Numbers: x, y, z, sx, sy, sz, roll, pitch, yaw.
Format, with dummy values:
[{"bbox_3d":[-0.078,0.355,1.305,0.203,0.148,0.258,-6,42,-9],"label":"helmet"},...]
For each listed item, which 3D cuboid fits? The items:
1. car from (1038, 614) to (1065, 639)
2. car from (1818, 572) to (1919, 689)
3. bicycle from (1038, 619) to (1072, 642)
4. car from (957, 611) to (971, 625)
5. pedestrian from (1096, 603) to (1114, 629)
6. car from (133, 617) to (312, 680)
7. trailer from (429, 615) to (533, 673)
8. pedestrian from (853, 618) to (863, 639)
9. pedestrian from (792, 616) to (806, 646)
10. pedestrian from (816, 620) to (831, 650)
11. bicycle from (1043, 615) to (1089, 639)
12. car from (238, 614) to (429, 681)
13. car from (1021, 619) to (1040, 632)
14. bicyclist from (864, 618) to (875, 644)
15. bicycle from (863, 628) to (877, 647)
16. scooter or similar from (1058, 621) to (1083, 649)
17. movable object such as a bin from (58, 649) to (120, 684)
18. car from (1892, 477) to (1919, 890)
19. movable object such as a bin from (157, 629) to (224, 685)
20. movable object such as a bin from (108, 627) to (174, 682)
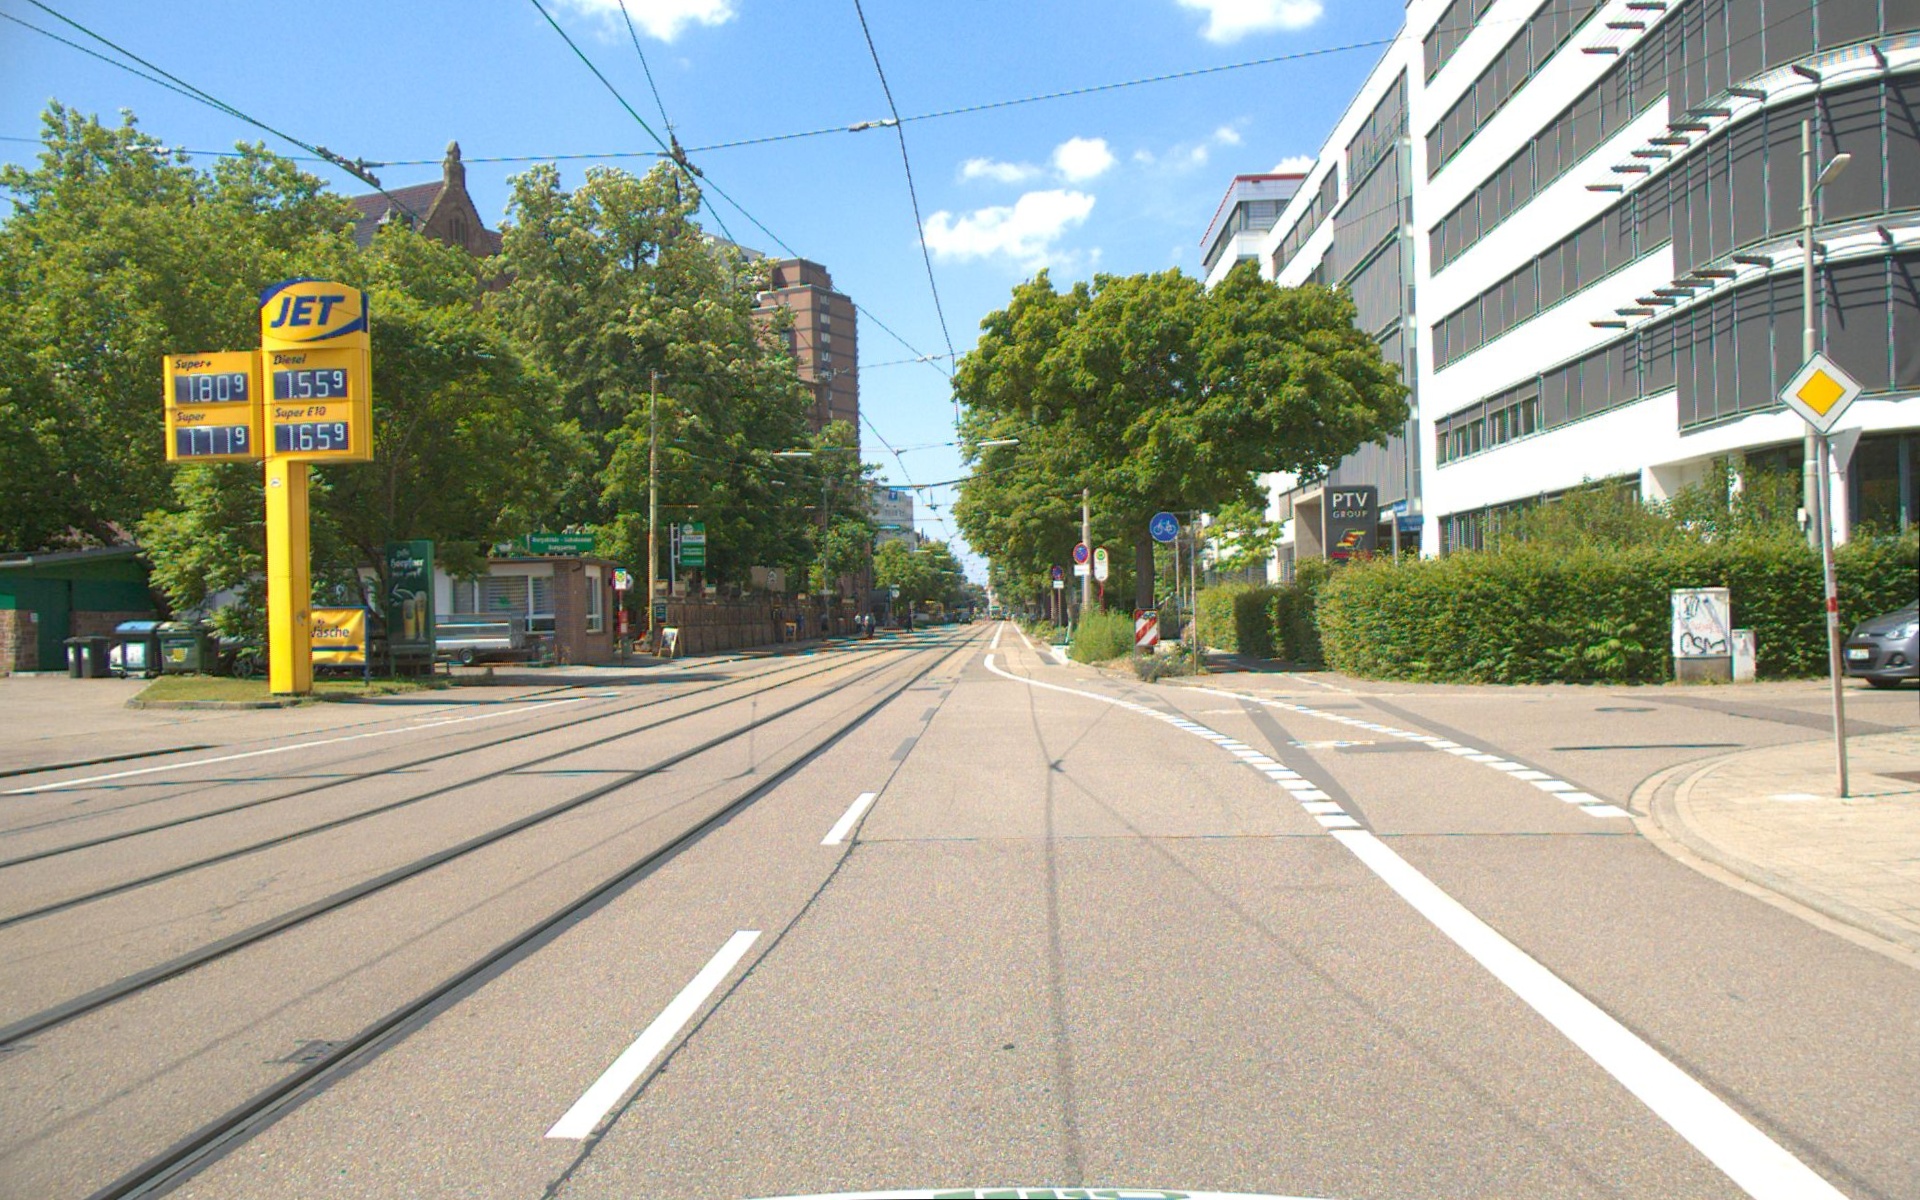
[{"bbox_3d":[5.934,1.722,107.227,1.600,1.527,4.000,-2,-1,1],"label":"car"},{"bbox_3d":[13.535,0.350,21.795,3.526,1.477,1.759,-2,-1,1],"label":"car"},{"bbox_3d":[5.050,1.639,88.013,1.716,1.186,0.530,-1,-1,-1],"label":"bicycle"},{"bbox_3d":[0.621,2.781,253.198,1.952,2.049,4.002,-1,-1,4],"label":"car"},{"bbox_3d":[10.725,1.169,122.587,1.191,1.859,0.831,-2,-1,-2],"label":"pedestrian"},{"bbox_3d":[-20.810,1.345,46.753,4.296,1.620,1.881,-1,-1,-42],"label":"car"},{"bbox_3d":[-15.099,1.378,52.213,2.771,1.733,1.621,-1,-1,2],"label":"trailer"},{"bbox_3d":[-8.499,2.356,137.697,0.727,1.758,0.867,-1,-1,1],"label":"pedestrian"},{"bbox_3d":[-9.591,1.863,98.659,0.727,1.758,0.867,-1,-1,1],"label":"pedestrian"},{"bbox_3d":[-8.354,2.120,101.452,0.798,1.801,0.924,-1,-1,1],"label":"pedestrian"},{"bbox_3d":[5.736,1.461,89.506,2.457,1.231,0.648,-2,-1,6],"label":"bicycle"},{"bbox_3d":[-16.537,1.233,43.776,4.301,1.618,1.967,-1,-1,-45],"label":"car"},{"bbox_3d":[7.595,2.765,178.315,1.952,1.333,4.000,-2,-1,1],"label":"car"},{"bbox_3d":[-6.159,2.114,112.590,0.629,1.709,0.814,-2,-1,-1],"label":"bicyclist"},{"bbox_3d":[-6.123,2.547,112.471,0.686,1.225,2.240,-4,-1,1],"label":"bicycle"},{"bbox_3d":[4.768,1.507,71.522,1.036,1.176,0.371,-3,-1,2],"label":"scooter or similar"},{"bbox_3d":[-22.849,1.738,43.367,1.317,0.889,0.758,-2,-1,22],"label":"movable object such as a bin"},{"bbox_3d":[5.560,0.342,5.397,1.952,2.026,5.515,-3,0,2],"label":"car"},{"bbox_3d":[-19.502,1.439,41.933,1.317,1.378,0.758,-1,-1,-1],"label":"movable object such as a bin"},{"bbox_3d":[-21.056,1.401,42.525,1.315,1.378,0.759,-2,-1,14],"label":"movable object such as a bin"}]
